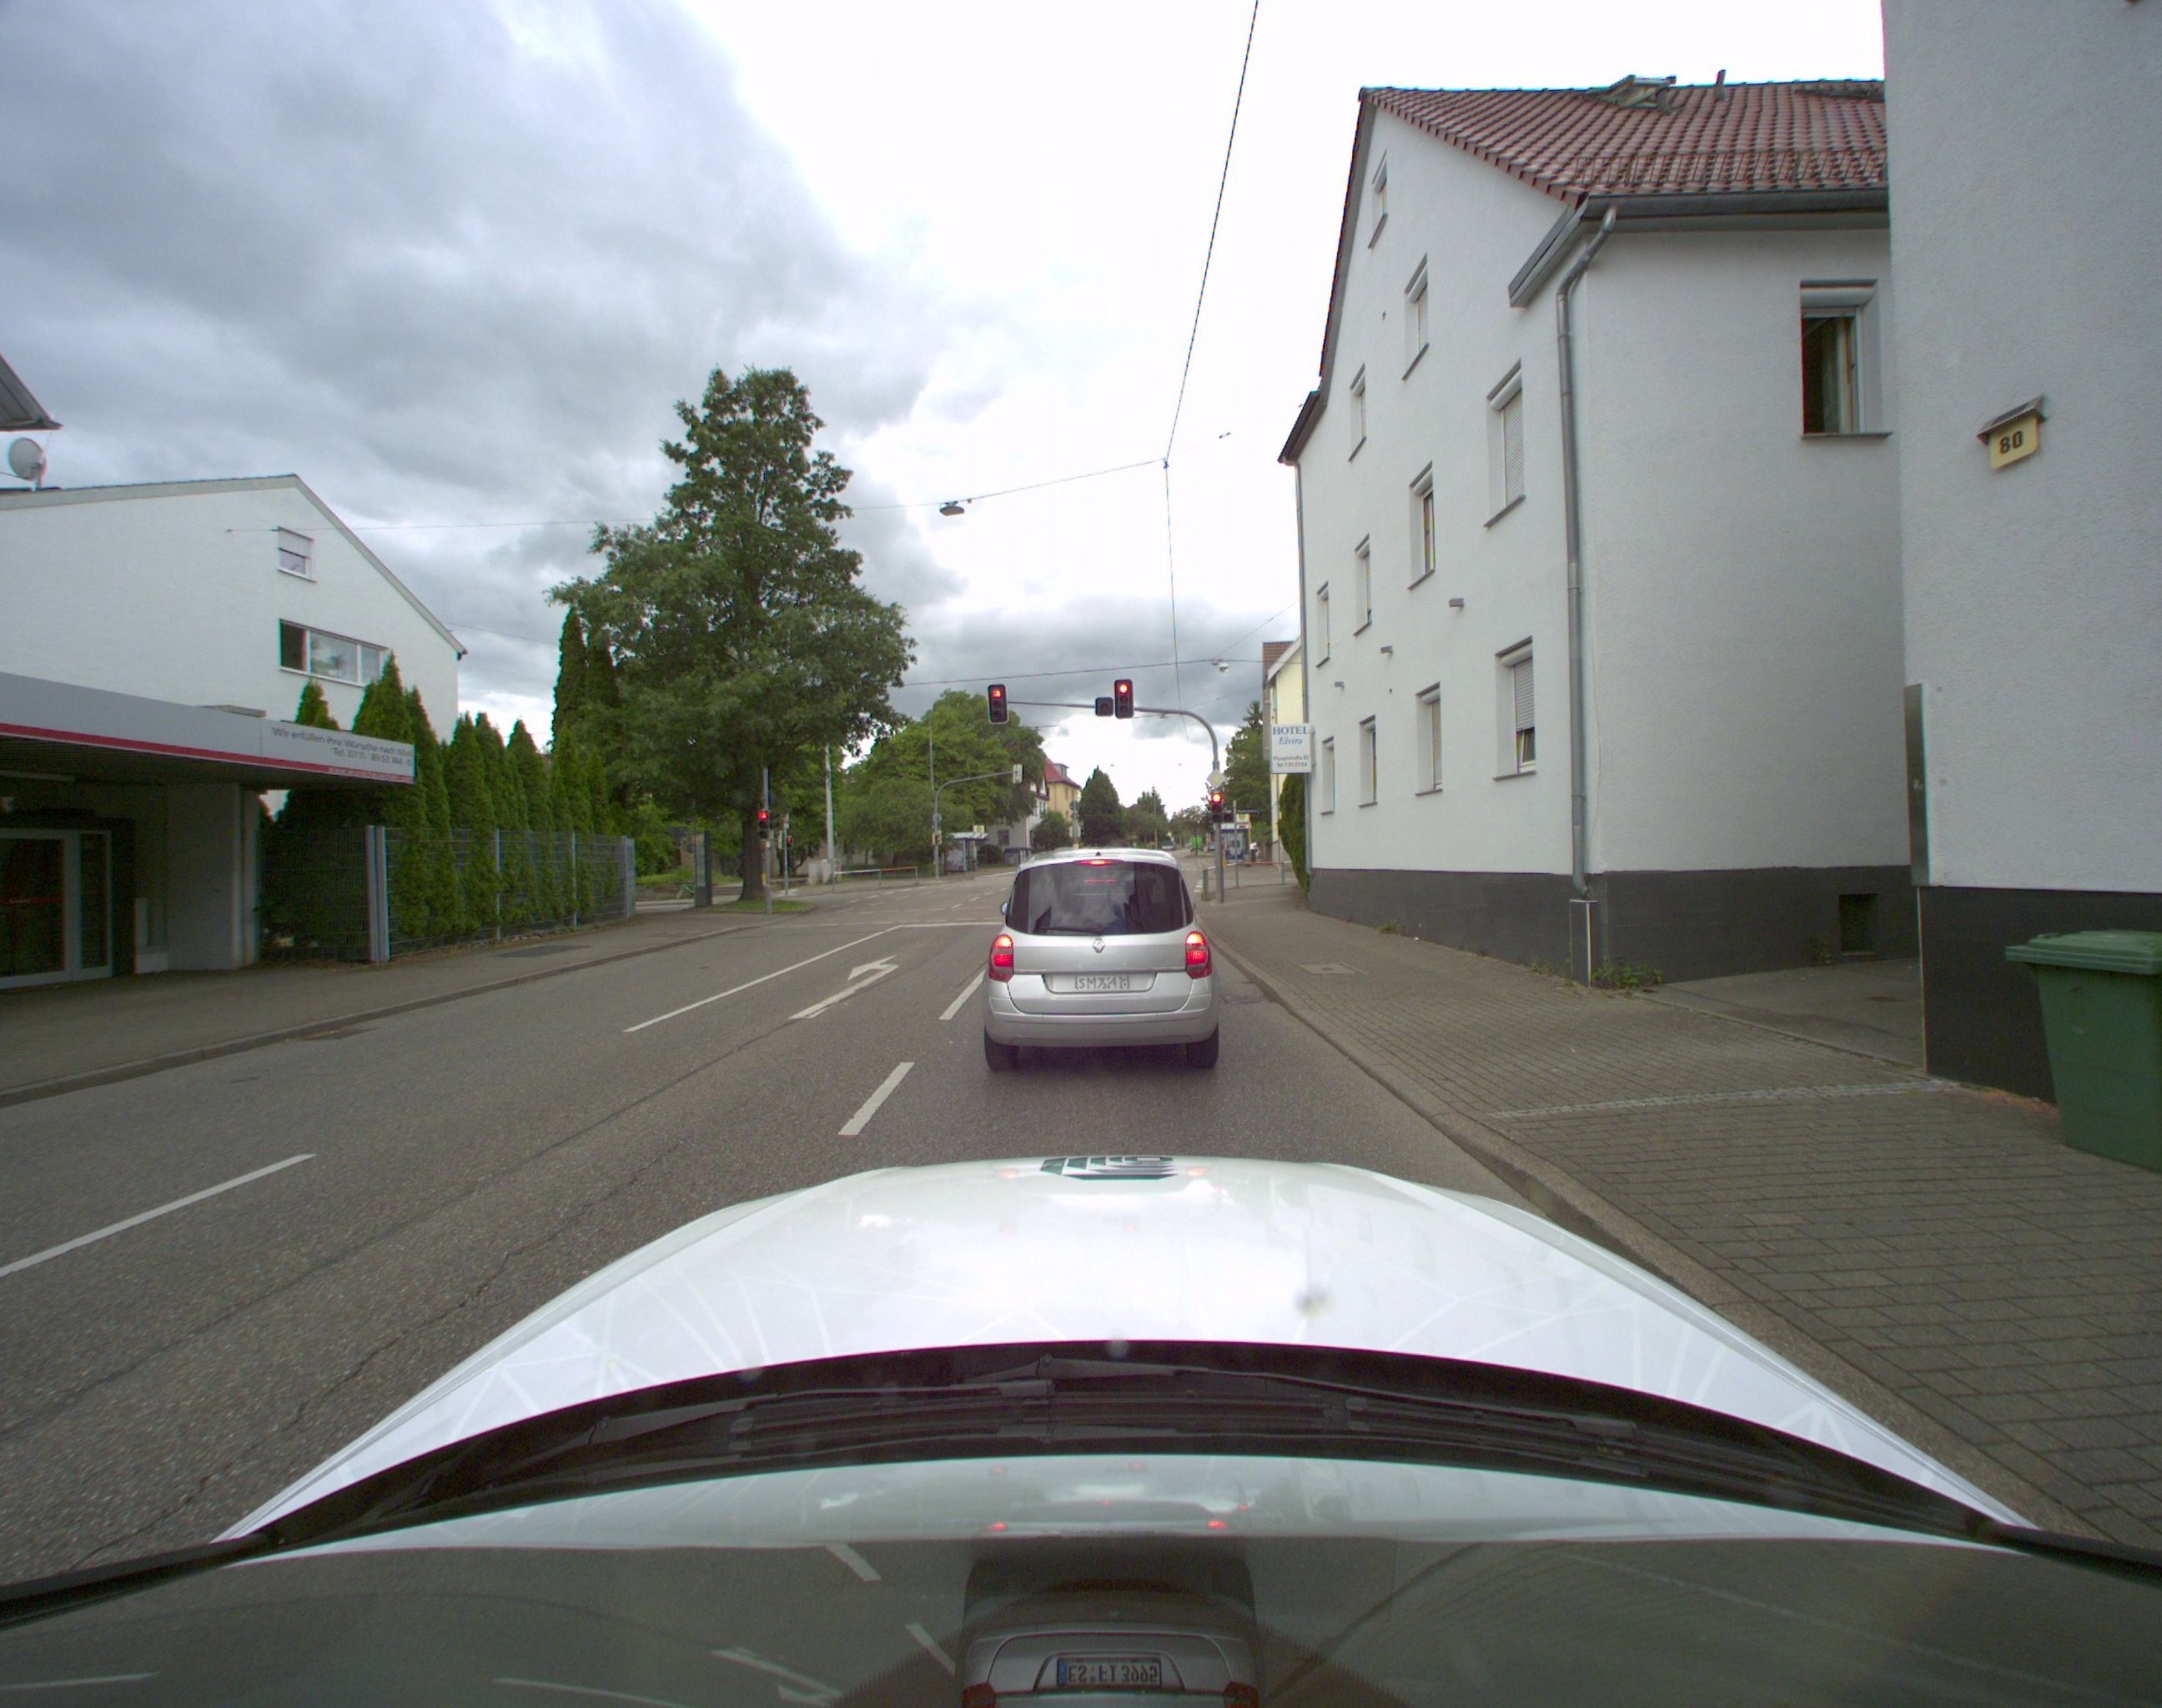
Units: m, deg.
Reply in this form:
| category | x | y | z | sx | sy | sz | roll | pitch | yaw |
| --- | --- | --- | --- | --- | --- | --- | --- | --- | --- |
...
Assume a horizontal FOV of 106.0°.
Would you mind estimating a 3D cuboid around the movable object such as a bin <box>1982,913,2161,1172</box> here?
| category | x | y | z | sx | sy | sz | roll | pitch | yaw |
| --- | --- | --- | --- | --- | --- | --- | --- | --- | --- |
| movable object such as a bin | 4.348 | 0.751 | 3.415 | 0.538 | 0.941 | 0.487 | -4 | 0 | 2 |

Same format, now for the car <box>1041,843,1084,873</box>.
| category | x | y | z | sx | sy | sz | roll | pitch | yaw |
| --- | --- | --- | --- | --- | --- | --- | --- | --- | --- |
| car | -1.206 | 0.214 | 54.928 | 1.913 | 1.773 | 4.013 | -5 | -1 | 12 |

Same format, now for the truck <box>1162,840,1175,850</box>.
| category | x | y | z | sx | sy | sz | roll | pitch | yaw |
| --- | --- | --- | --- | --- | --- | --- | --- | --- | --- |
| truck | 17.903 | -1.864 | 166.908 | 2.088 | 2.013 | 5.766 | -1 | 0 | 11 |

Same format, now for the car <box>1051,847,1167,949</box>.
| category | x | y | z | sx | sy | sz | roll | pitch | yaw |
| --- | --- | --- | --- | --- | --- | --- | --- | --- | --- |
| car | 0.476 | 0.680 | 14.289 | 1.748 | 1.530 | 3.798 | -1 | 0 | 1 |

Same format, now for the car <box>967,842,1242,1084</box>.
| category | x | y | z | sx | sy | sz | roll | pitch | yaw |
| --- | --- | --- | --- | --- | --- | --- | --- | --- | --- |
| car | 0.200 | 0.705 | 7.225 | 1.748 | 1.530 | 4.001 | -1 | 0 | 1 |

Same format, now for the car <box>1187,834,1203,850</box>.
| category | x | y | z | sx | sy | sz | roll | pitch | yaw |
| --- | --- | --- | --- | --- | --- | --- | --- | --- | --- |
| car | 19.033 | -2.012 | 135.271 | 2.044 | 2.512 | 5.616 | -1 | 0 | 14 |

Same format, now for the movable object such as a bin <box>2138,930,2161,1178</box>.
| category | x | y | z | sx | sy | sz | roll | pitch | yaw |
| --- | --- | --- | --- | --- | --- | --- | --- | --- | --- |
| movable object such as a bin | 4.356 | 0.750 | 2.878 | 0.538 | 0.941 | 0.487 | -4 | 0 | 2 |
